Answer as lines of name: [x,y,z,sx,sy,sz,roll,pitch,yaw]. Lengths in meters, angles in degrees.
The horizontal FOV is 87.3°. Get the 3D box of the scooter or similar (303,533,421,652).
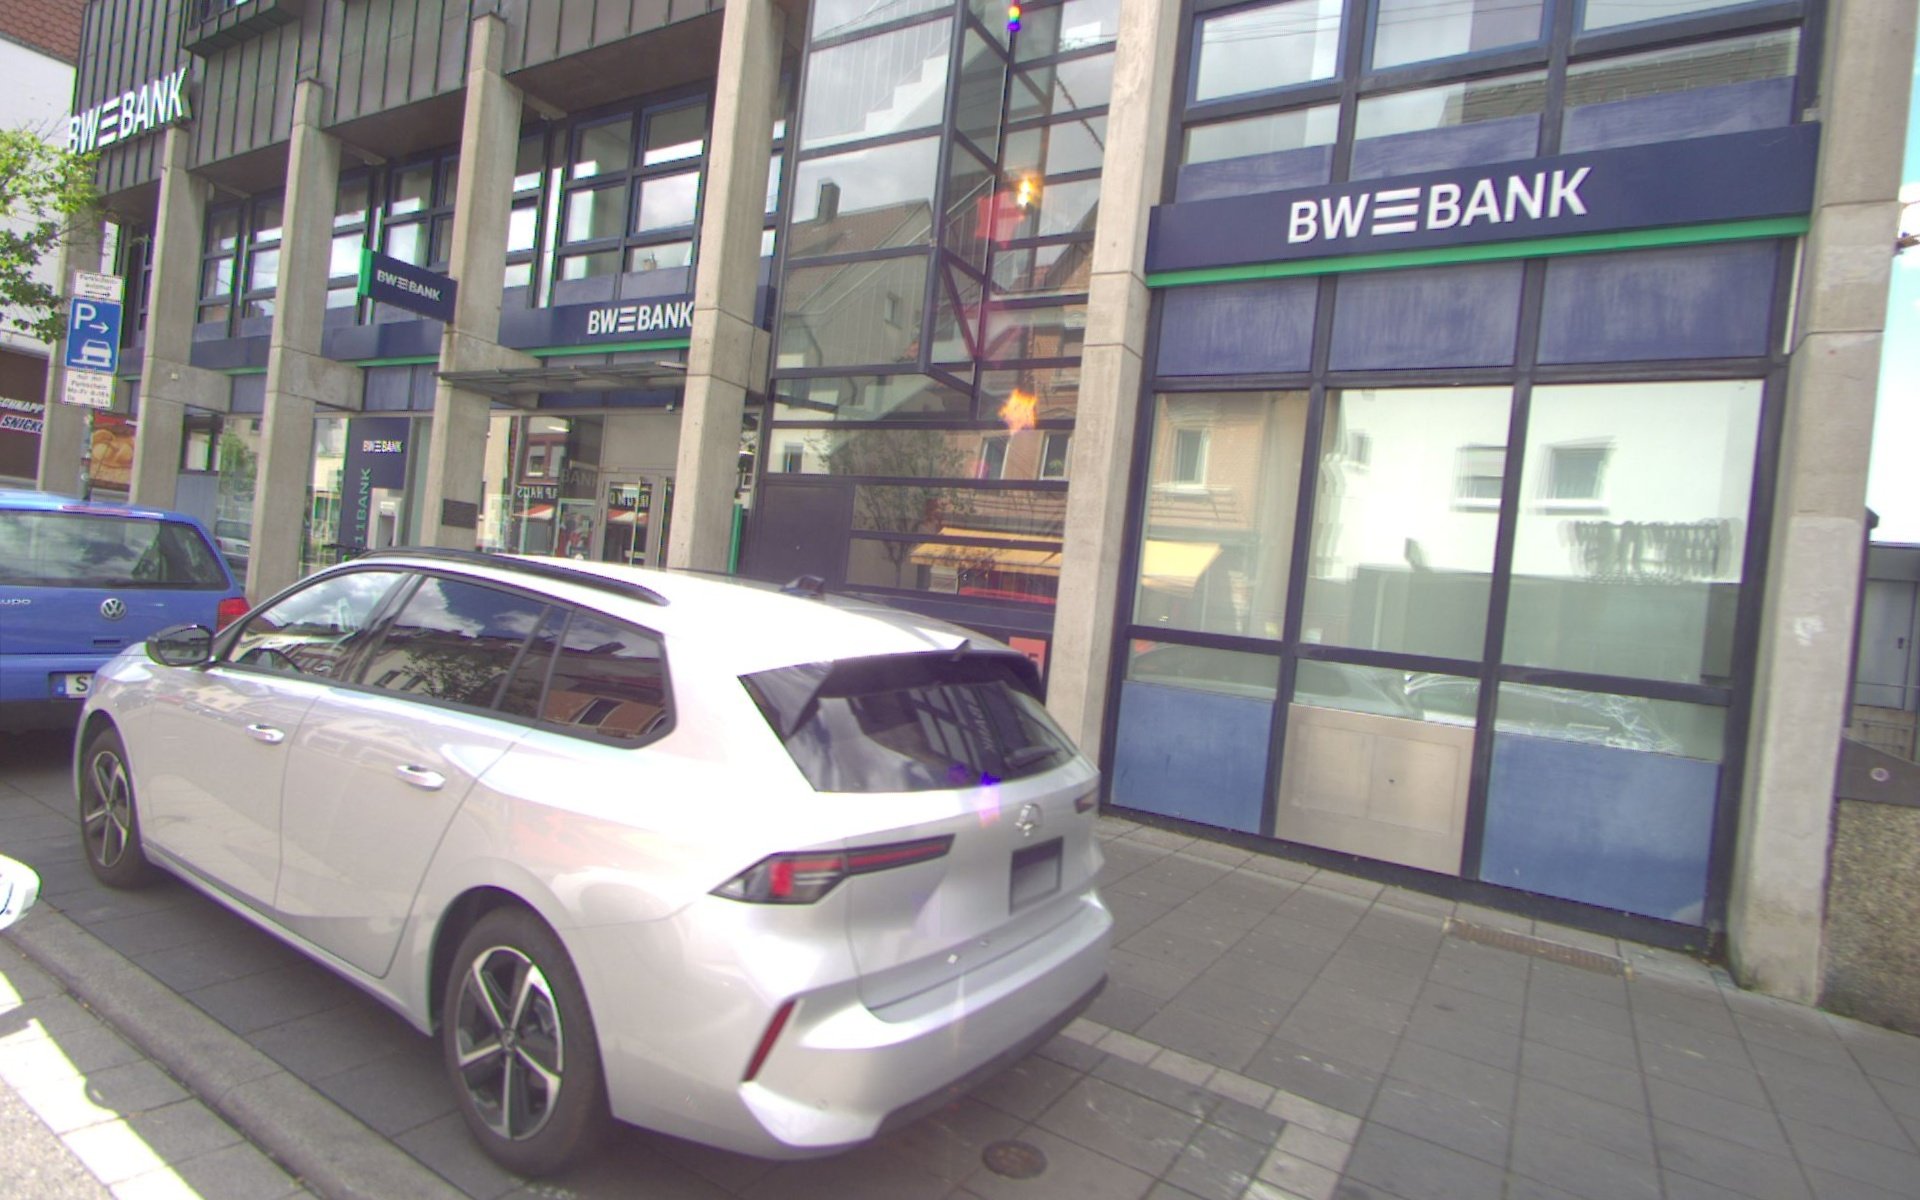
scooter or similar: [-7.158,-0.104,12.020,1.535,1.260,0.422,6,-1,31]

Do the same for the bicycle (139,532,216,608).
bicycle: [-13.390,-0.524,17.201,1.713,1.132,0.426,6,-1,34]

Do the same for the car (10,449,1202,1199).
car: [-1.589,0.488,3.708,4.356,1.596,1.723,8,1,33]

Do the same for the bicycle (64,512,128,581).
bicycle: [-15.479,-0.964,18.012,1.477,1.095,0.425,7,2,34]

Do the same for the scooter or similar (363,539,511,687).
scooter or similar: [-5.097,0.109,9.769,1.535,1.260,0.422,6,-1,31]

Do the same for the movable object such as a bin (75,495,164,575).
movable object such as a bin: [-18.529,-1.429,22.186,1.015,1.545,1.143,6,-2,34]

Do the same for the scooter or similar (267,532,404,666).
scooter or similar: [-6.586,-0.014,10.609,1.300,1.260,0.407,6,-1,21]

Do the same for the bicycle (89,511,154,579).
bicycle: [-15.418,-1.021,18.495,1.478,1.132,0.426,6,-1,34]

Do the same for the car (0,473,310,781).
car: [-6.149,0.021,6.440,4.042,1.511,1.724,6,-2,33]

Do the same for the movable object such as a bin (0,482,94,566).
movable object such as a bin: [-19.248,-1.595,21.218,1.015,1.545,1.143,6,-2,34]
